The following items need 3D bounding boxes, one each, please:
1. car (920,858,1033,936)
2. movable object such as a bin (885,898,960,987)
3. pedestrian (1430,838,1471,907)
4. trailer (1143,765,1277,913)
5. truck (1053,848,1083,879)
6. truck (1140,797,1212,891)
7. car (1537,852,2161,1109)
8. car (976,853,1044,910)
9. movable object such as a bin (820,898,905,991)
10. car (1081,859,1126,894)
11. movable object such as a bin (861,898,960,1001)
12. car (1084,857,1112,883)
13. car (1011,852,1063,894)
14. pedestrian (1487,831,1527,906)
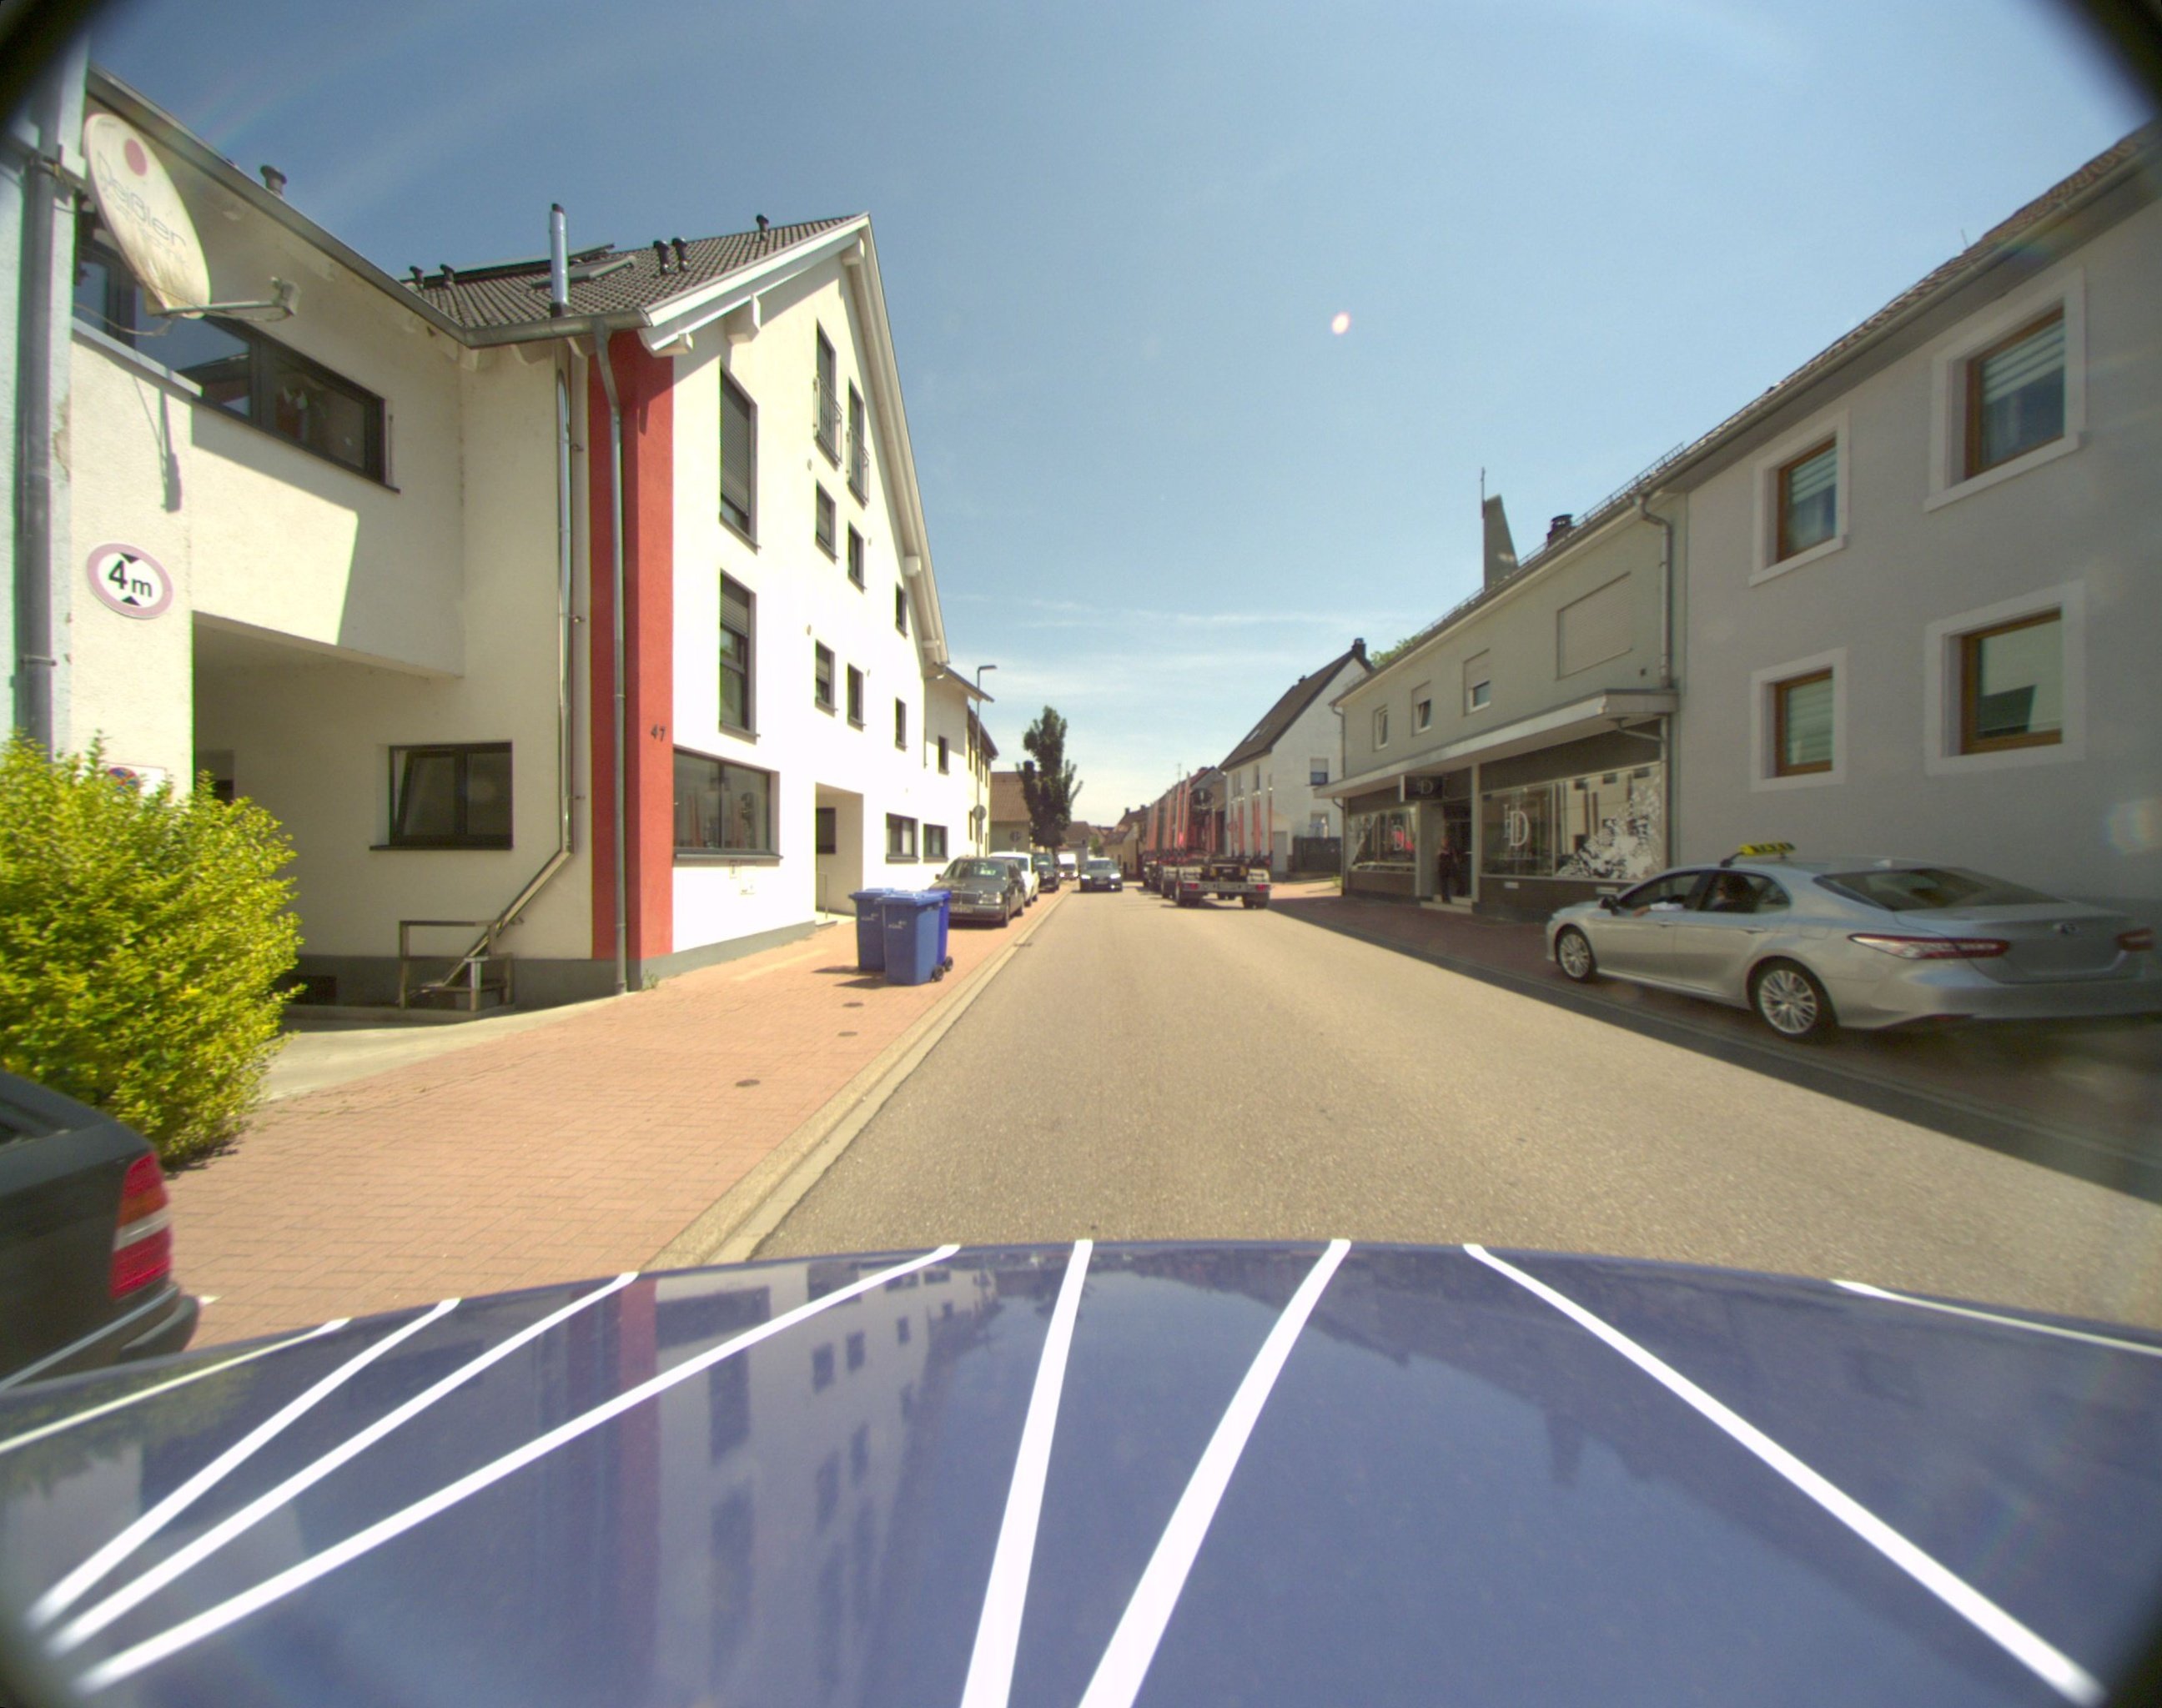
[{"bbox_3d":[-2.209,0.851,17.386,1.704,1.438,4.837,2,0,2],"label":"car"},{"bbox_3d":[-2.015,1.107,9.691,0.656,1.029,0.685,2,1,18],"label":"movable object such as a bin"},{"bbox_3d":[9.191,0.445,18.926,0.626,1.675,0.771,-1,1,1],"label":"pedestrian"},{"bbox_3d":[4.122,-0.448,28.466,2.637,3.956,15.698,1,0,1],"label":"trailer"},{"bbox_3d":[-1.642,1.121,92.265,2.869,3.491,8.314,1,0,-7],"label":"truck"},{"bbox_3d":[4.290,-0.451,35.751,2.625,3.962,6.852,1,0,1],"label":"truck"},{"bbox_3d":[6.485,0.799,7.076,1.812,1.548,4.565,-3,0,2],"label":"car"},{"bbox_3d":[-2.073,0.773,23.059,1.610,1.513,3.545,2,0,1],"label":"car"},{"bbox_3d":[-2.742,1.114,9.604,0.655,1.054,0.836,2,1,18],"label":"movable object such as a bin"},{"bbox_3d":[0.928,0.904,32.019,1.786,1.364,3.607,-1,0,1],"label":"car"},{"bbox_3d":[-1.999,1.094,8.983,0.723,1.067,0.973,2,1,18],"label":"movable object such as a bin"},{"bbox_3d":[1.273,1.252,60.140,2.079,1.949,5.518,-1,0,0],"label":"car"},{"bbox_3d":[-1.755,0.763,31.628,1.806,1.604,4.549,2,-1,1],"label":"car"},{"bbox_3d":[9.981,0.326,17.818,0.664,1.703,0.632,-1,2,43],"label":"pedestrian"}]
